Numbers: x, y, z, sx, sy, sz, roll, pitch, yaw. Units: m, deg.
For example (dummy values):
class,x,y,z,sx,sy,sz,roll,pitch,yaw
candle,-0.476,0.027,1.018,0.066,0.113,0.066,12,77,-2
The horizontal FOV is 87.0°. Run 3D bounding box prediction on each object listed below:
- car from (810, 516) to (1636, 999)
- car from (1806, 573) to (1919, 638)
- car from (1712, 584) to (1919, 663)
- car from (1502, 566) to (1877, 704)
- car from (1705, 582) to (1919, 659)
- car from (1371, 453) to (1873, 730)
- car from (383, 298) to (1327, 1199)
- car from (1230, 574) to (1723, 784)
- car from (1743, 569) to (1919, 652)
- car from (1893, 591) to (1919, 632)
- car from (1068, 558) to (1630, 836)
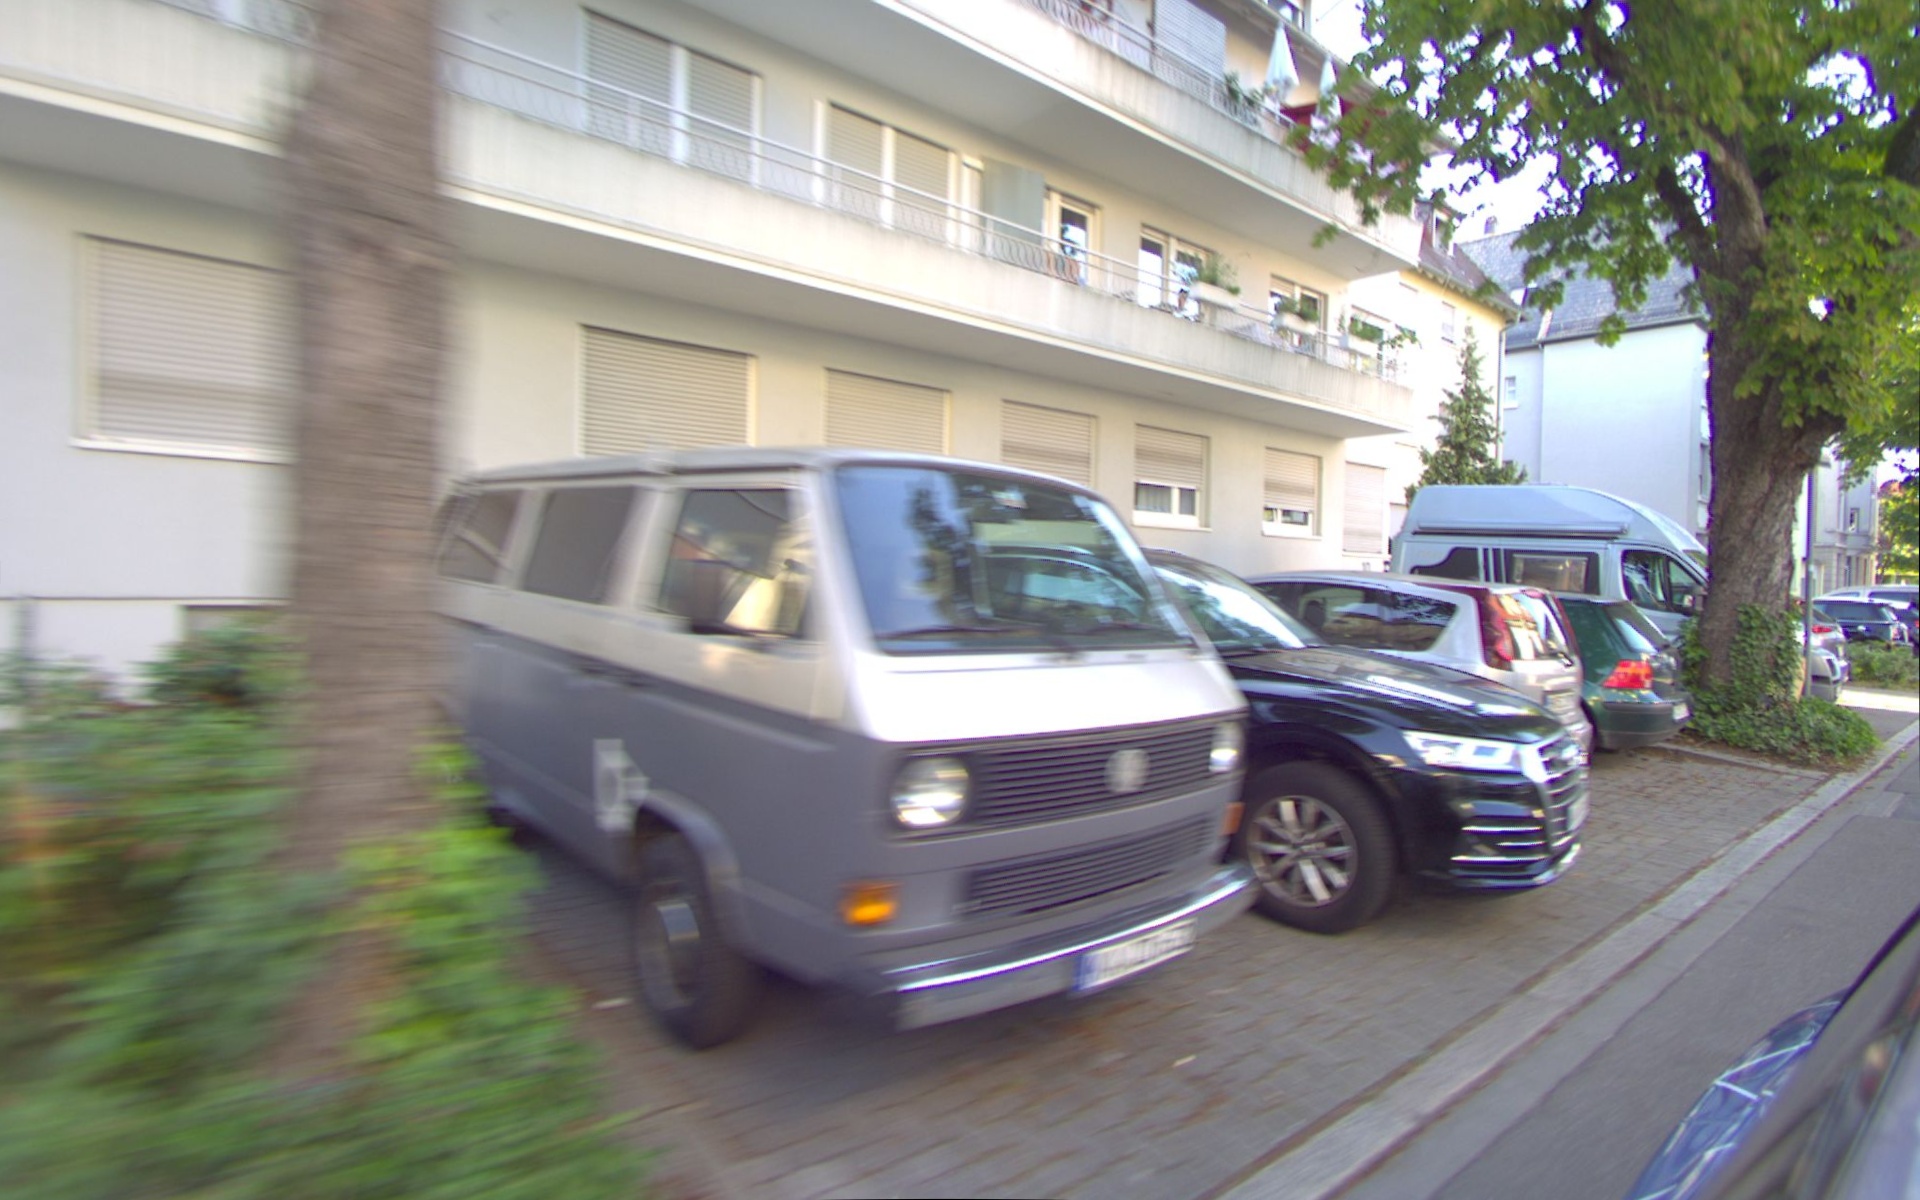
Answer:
class,x,y,z,sx,sy,sz,roll,pitch,yaw
car,1.162,0.473,5.703,4.174,1.744,1.739,3,3,42
car,30.248,0.189,32.200,1.915,1.960,4.819,0,2,-40
car,18.858,0.454,22.242,1.728,1.445,3.410,0,3,-40
car,10.635,0.387,15.017,1.728,1.587,4.197,0,4,-42
car,20.519,0.436,24.018,1.729,1.560,4.306,0,3,-43
car,8.411,-0.216,13.306,2.041,2.938,5.102,0,3,-43
car,-0.950,0.291,4.482,1.864,2.038,4.476,0,2,-42
car,4.619,0.536,9.445,1.729,1.448,3.727,-2,4,-42
car,22.743,0.213,25.687,1.730,1.908,4.306,-1,3,-43
car,37.861,0.505,38.216,1.646,1.516,3.679,0,2,-40
car,2.740,0.494,7.810,1.610,1.573,3.730,-1,3,-39
